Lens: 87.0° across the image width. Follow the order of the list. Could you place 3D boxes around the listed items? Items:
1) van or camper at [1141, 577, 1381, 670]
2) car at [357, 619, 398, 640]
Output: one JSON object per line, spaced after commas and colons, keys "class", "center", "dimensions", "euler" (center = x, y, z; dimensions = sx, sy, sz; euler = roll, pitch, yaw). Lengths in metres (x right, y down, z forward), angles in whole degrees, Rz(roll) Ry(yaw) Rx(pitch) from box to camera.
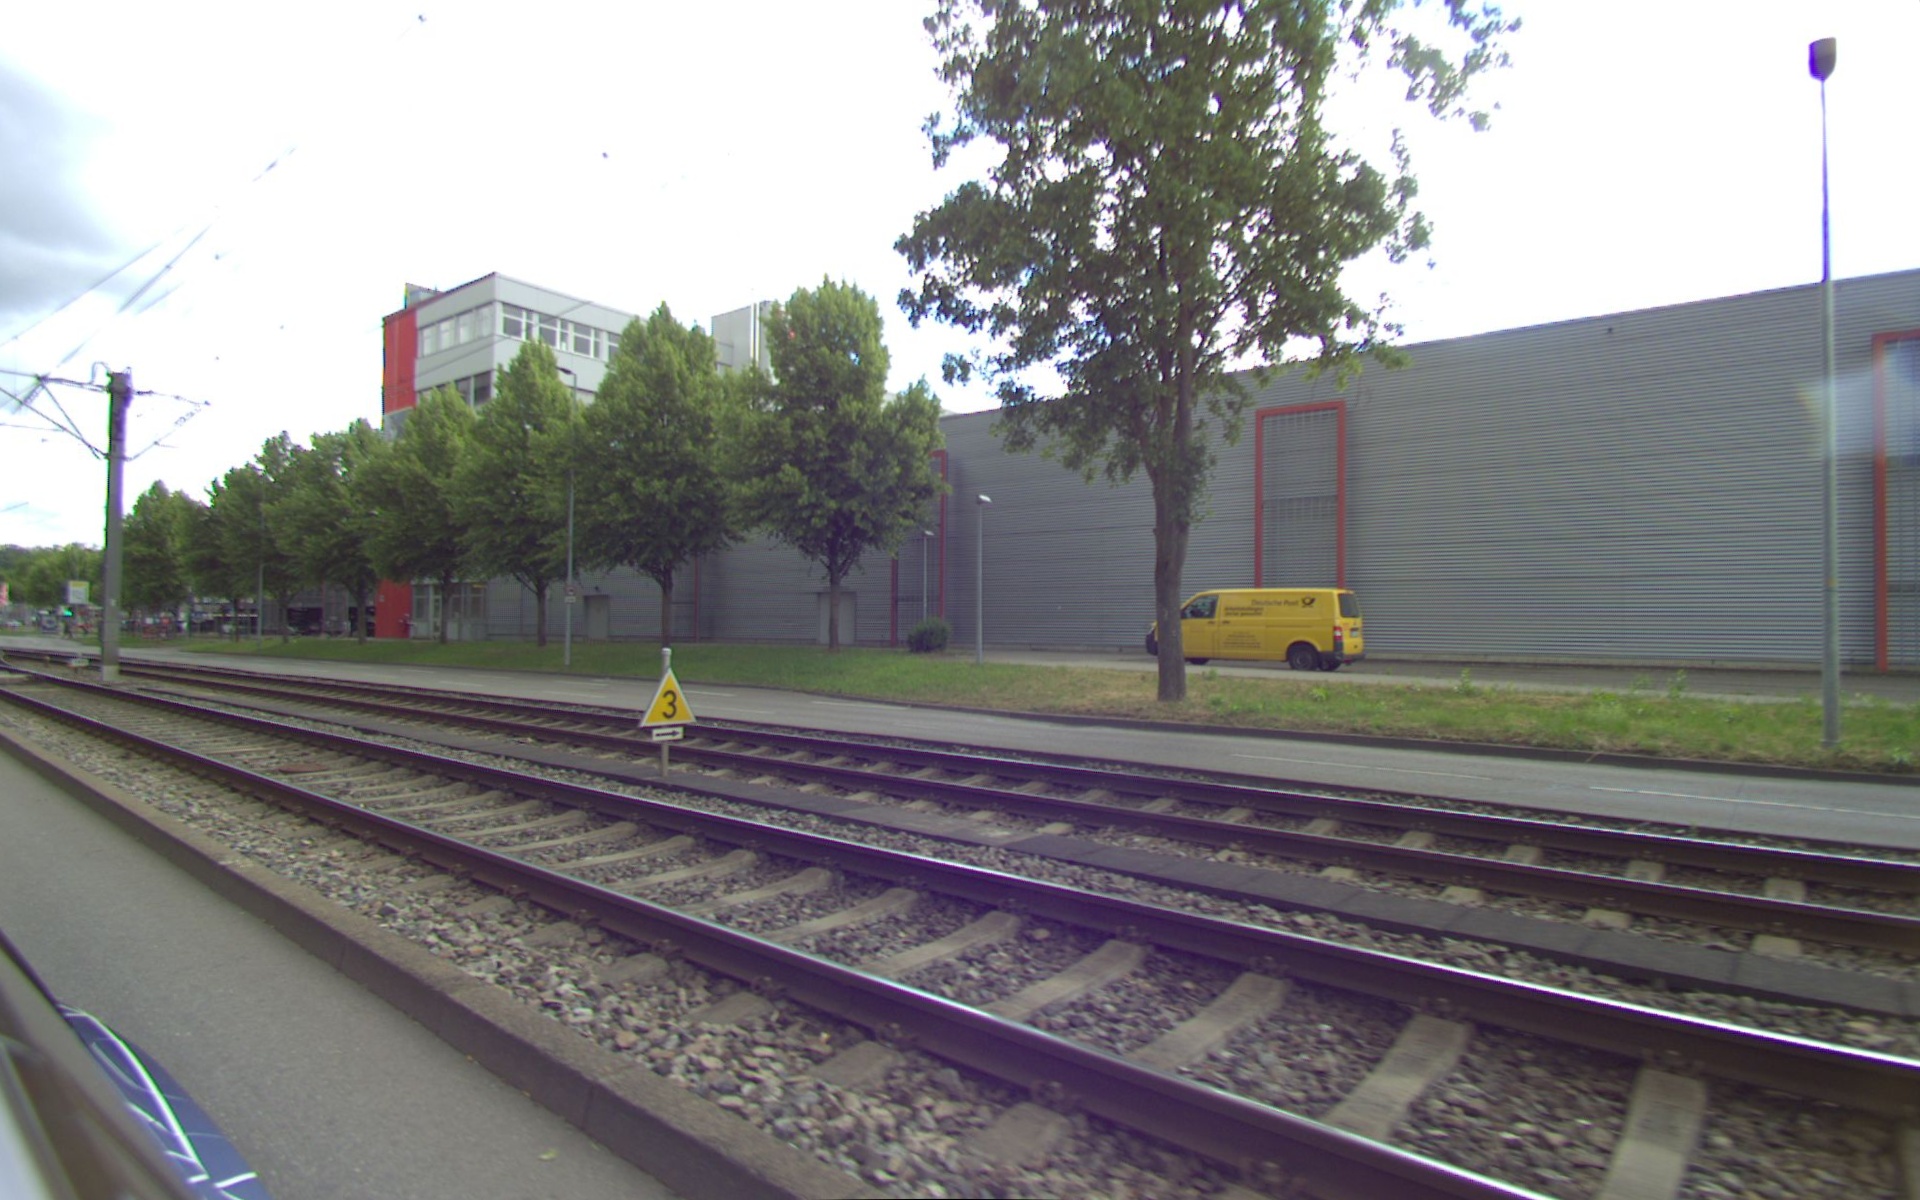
{"class": "van or camper", "center": [7.243, 0.583, 24.676], "dimensions": [5.235, 2.029, 2.083], "euler": [-1, -2, 38]}
{"class": "car", "center": [-57.676, 2.898, 100.156], "dimensions": [4.399, 2.029, 1.975], "euler": [-1, -2, 38]}
